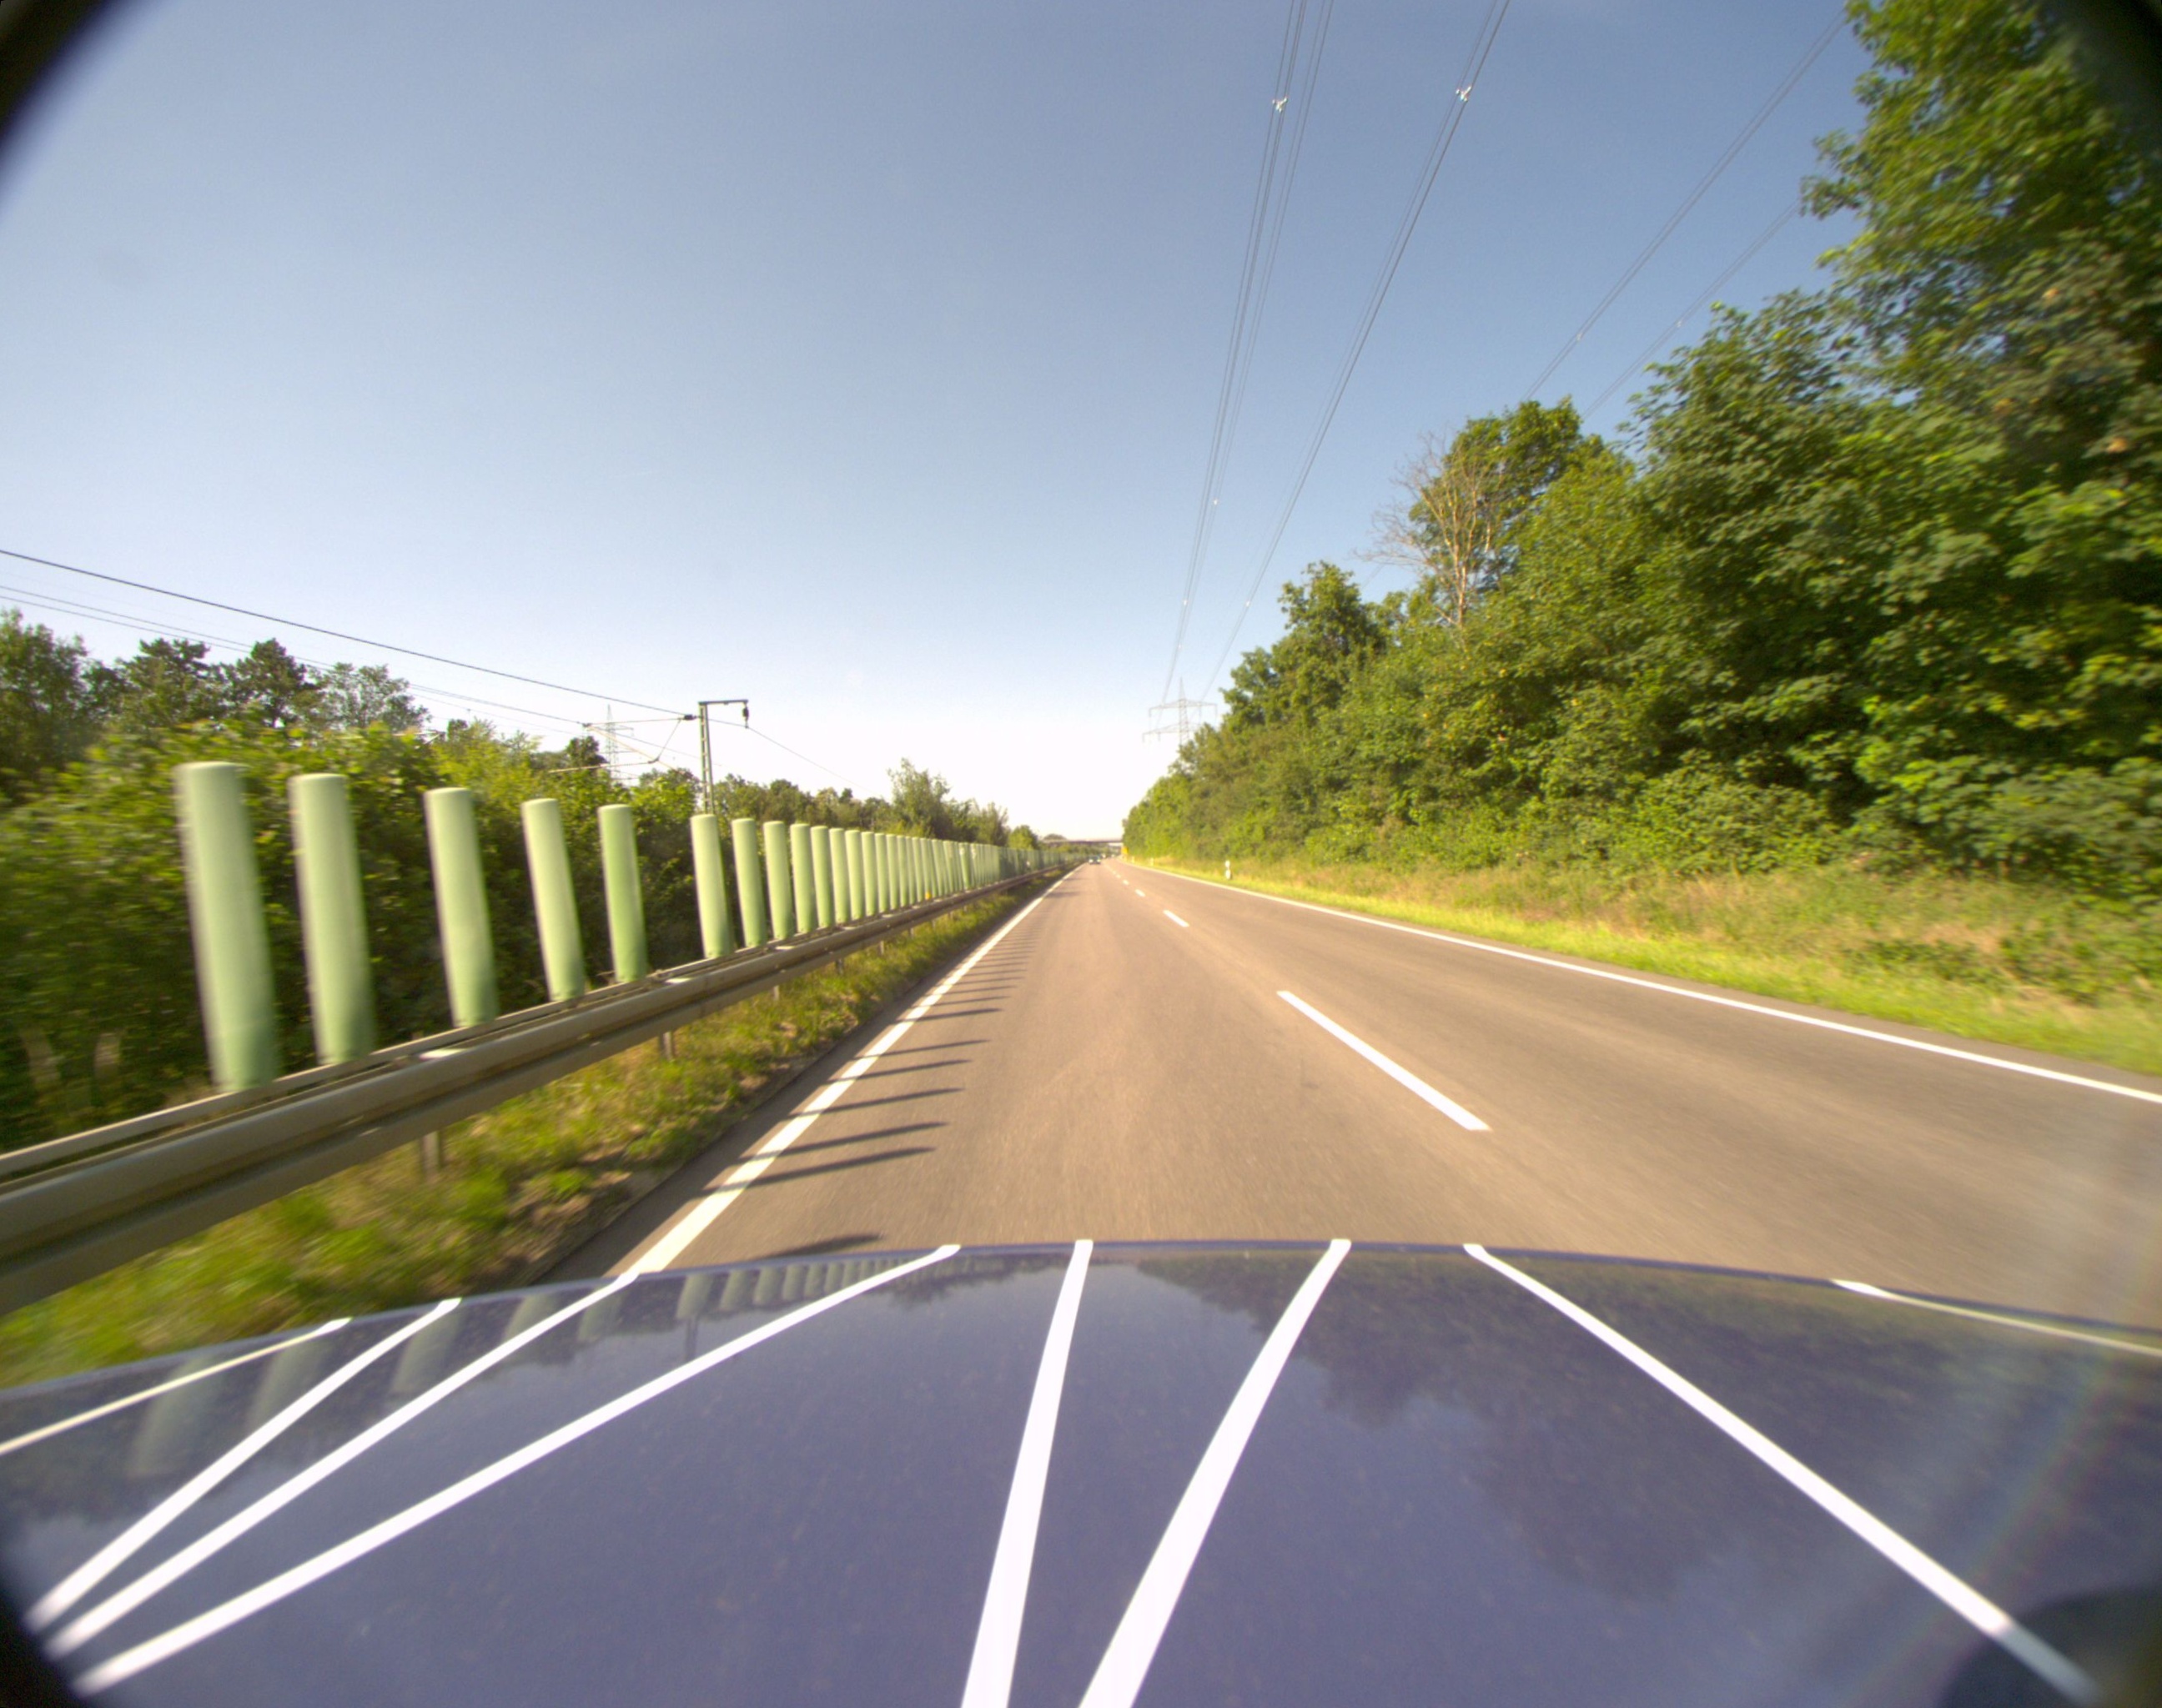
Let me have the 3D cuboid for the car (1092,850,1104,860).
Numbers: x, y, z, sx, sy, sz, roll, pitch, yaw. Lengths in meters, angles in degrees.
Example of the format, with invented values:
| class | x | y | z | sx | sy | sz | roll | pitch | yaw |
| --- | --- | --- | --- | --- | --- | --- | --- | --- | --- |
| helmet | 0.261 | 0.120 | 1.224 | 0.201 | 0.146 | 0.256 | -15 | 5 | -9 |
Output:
| class | x | y | z | sx | sy | sz | roll | pitch | yaw |
| --- | --- | --- | --- | --- | --- | --- | --- | --- | --- |
| car | 2.811 | 0.203 | 127.292 | 1.786 | 1.550 | 4.001 | -1 | 0 | 3 |
